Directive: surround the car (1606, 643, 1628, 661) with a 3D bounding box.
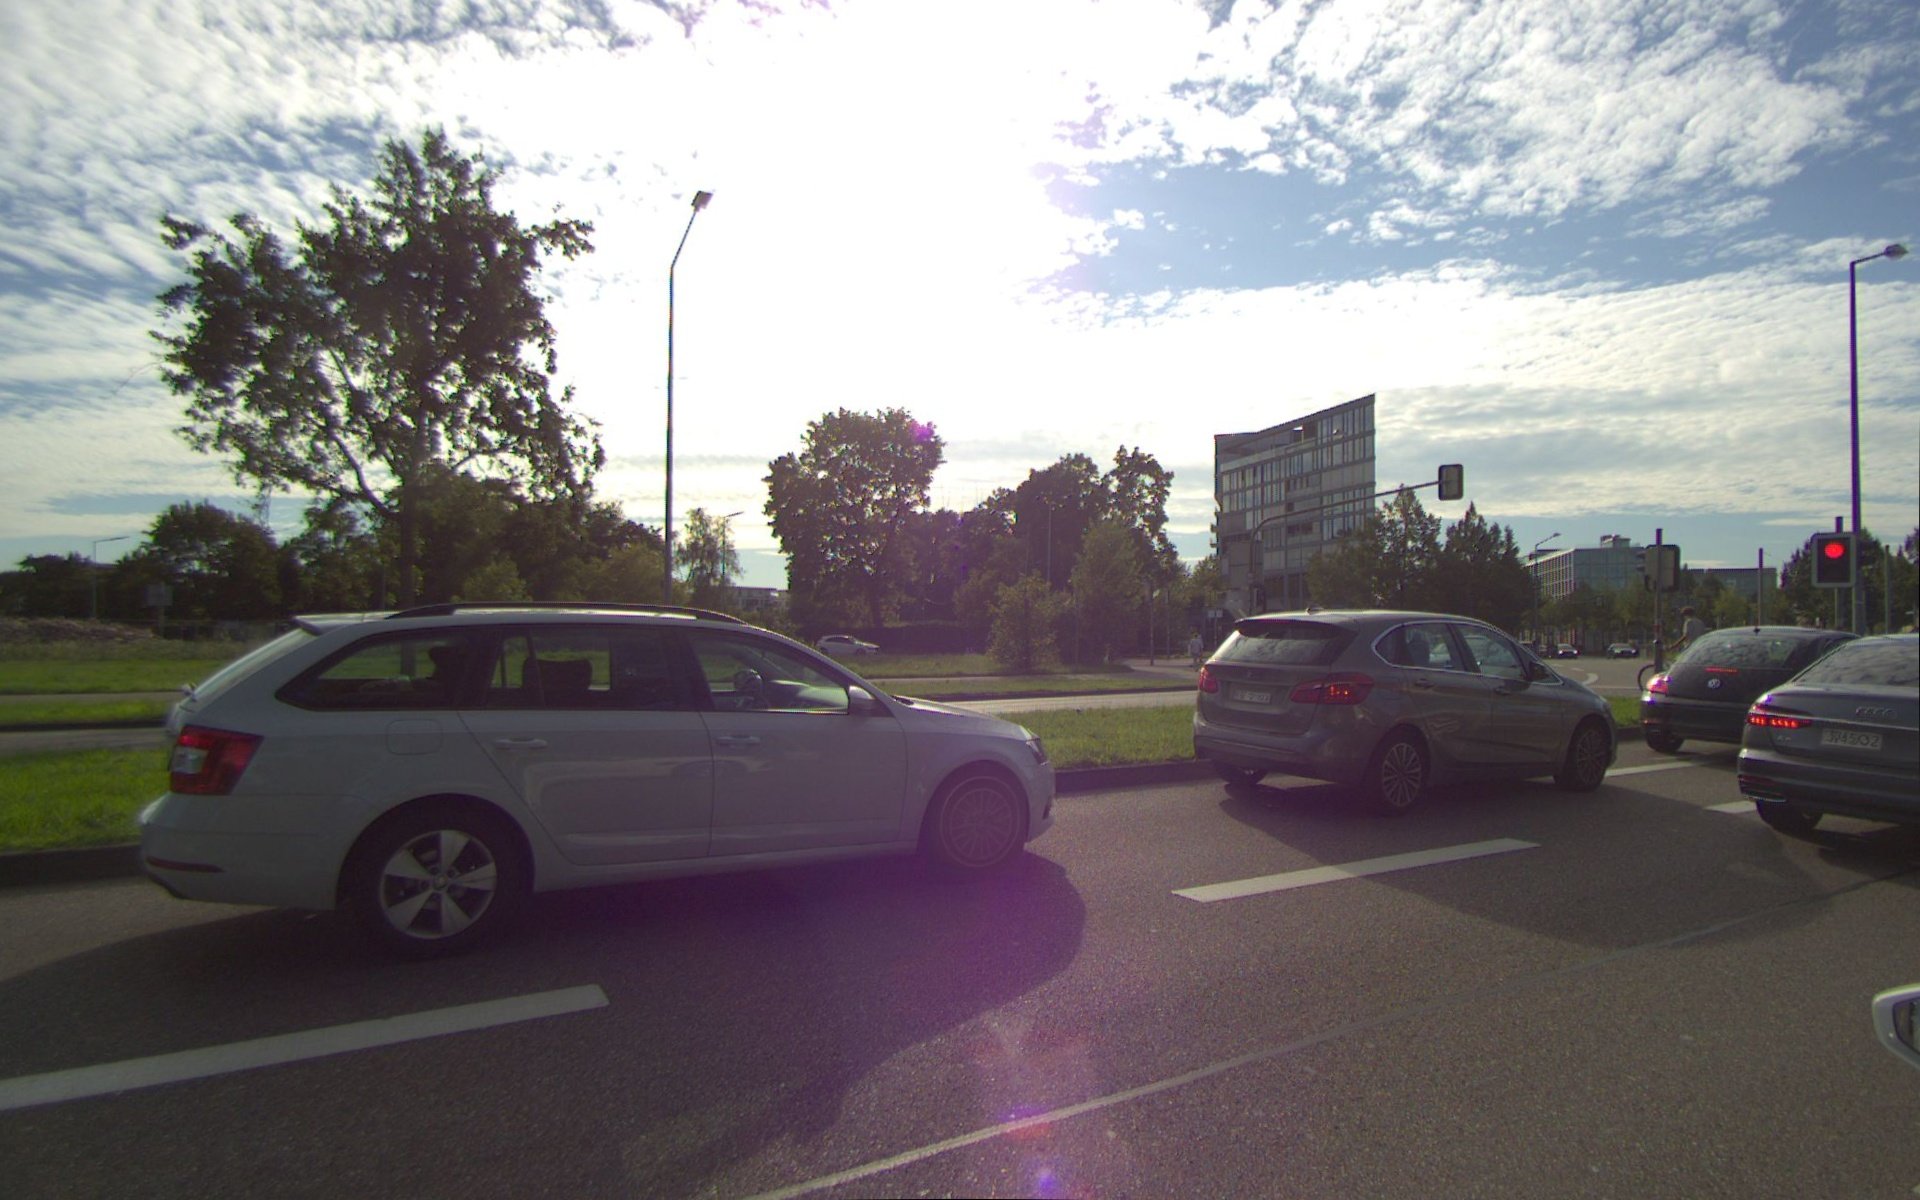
[{"bbox_3d":[58.355,4.573,89.241,1.593,1.484,3.720,-1,-2,34],"label":"car"}]

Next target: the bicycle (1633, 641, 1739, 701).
[{"bbox_3d":[15.102,1.458,20.922,1.707,1.179,0.652,-1,-2,44],"label":"bicycle"}]

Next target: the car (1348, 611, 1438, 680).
[{"bbox_3d":[15.636,1.662,36.061,1.966,2.264,5.910,-2,-4,33],"label":"car"}]

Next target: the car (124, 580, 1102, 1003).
[{"bbox_3d":[-1.504,0.761,5.488,4.429,1.518,1.690,2,-1,-31],"label":"car"}]

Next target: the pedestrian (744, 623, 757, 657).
[{"bbox_3d":[-12.414,2.369,59.458,0.675,2.040,0.641,0,-2,-5],"label":"pedestrian"}]

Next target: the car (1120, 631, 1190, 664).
[{"bbox_3d":[11.439,2.765,58.725,3.919,1.793,1.712,1,-1,13],"label":"car"}]

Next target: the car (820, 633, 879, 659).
[{"bbox_3d":[-7.128,2.980,64.936,3.431,1.613,1.594,0,-2,17],"label":"car"}]

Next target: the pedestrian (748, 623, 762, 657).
[{"bbox_3d":[-12.286,2.416,60.337,0.723,2.040,0.739,0,-2,-6],"label":"pedestrian"}]

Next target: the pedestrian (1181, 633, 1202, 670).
[{"bbox_3d":[10.080,2.258,43.745,0.610,1.589,0.650,2,-2,-37],"label":"pedestrian"}]

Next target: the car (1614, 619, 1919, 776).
[{"bbox_3d":[9.531,1.034,11.747,3.766,1.543,1.672,2,-1,-31],"label":"car"}]

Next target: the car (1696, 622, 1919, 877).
[{"bbox_3d":[7.577,0.968,7.370,4.559,1.502,1.881,2,-1,-31],"label":"car"}]

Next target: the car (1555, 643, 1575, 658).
[{"bbox_3d":[58.280,4.840,96.763,1.570,1.433,3.661,-1,-2,33],"label":"car"}]

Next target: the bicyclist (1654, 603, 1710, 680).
[{"bbox_3d":[15.080,0.864,20.973,0.840,1.546,0.736,-2,-3,44],"label":"bicyclist"}]

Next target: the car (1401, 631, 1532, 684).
[{"bbox_3d":[14.765,1.677,29.191,4.173,1.428,1.886,3,-5,-40],"label":"car"}]

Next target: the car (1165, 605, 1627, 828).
[{"bbox_3d":[3.909,0.877,8.869,3.971,1.579,1.721,2,-1,-30],"label":"car"}]
